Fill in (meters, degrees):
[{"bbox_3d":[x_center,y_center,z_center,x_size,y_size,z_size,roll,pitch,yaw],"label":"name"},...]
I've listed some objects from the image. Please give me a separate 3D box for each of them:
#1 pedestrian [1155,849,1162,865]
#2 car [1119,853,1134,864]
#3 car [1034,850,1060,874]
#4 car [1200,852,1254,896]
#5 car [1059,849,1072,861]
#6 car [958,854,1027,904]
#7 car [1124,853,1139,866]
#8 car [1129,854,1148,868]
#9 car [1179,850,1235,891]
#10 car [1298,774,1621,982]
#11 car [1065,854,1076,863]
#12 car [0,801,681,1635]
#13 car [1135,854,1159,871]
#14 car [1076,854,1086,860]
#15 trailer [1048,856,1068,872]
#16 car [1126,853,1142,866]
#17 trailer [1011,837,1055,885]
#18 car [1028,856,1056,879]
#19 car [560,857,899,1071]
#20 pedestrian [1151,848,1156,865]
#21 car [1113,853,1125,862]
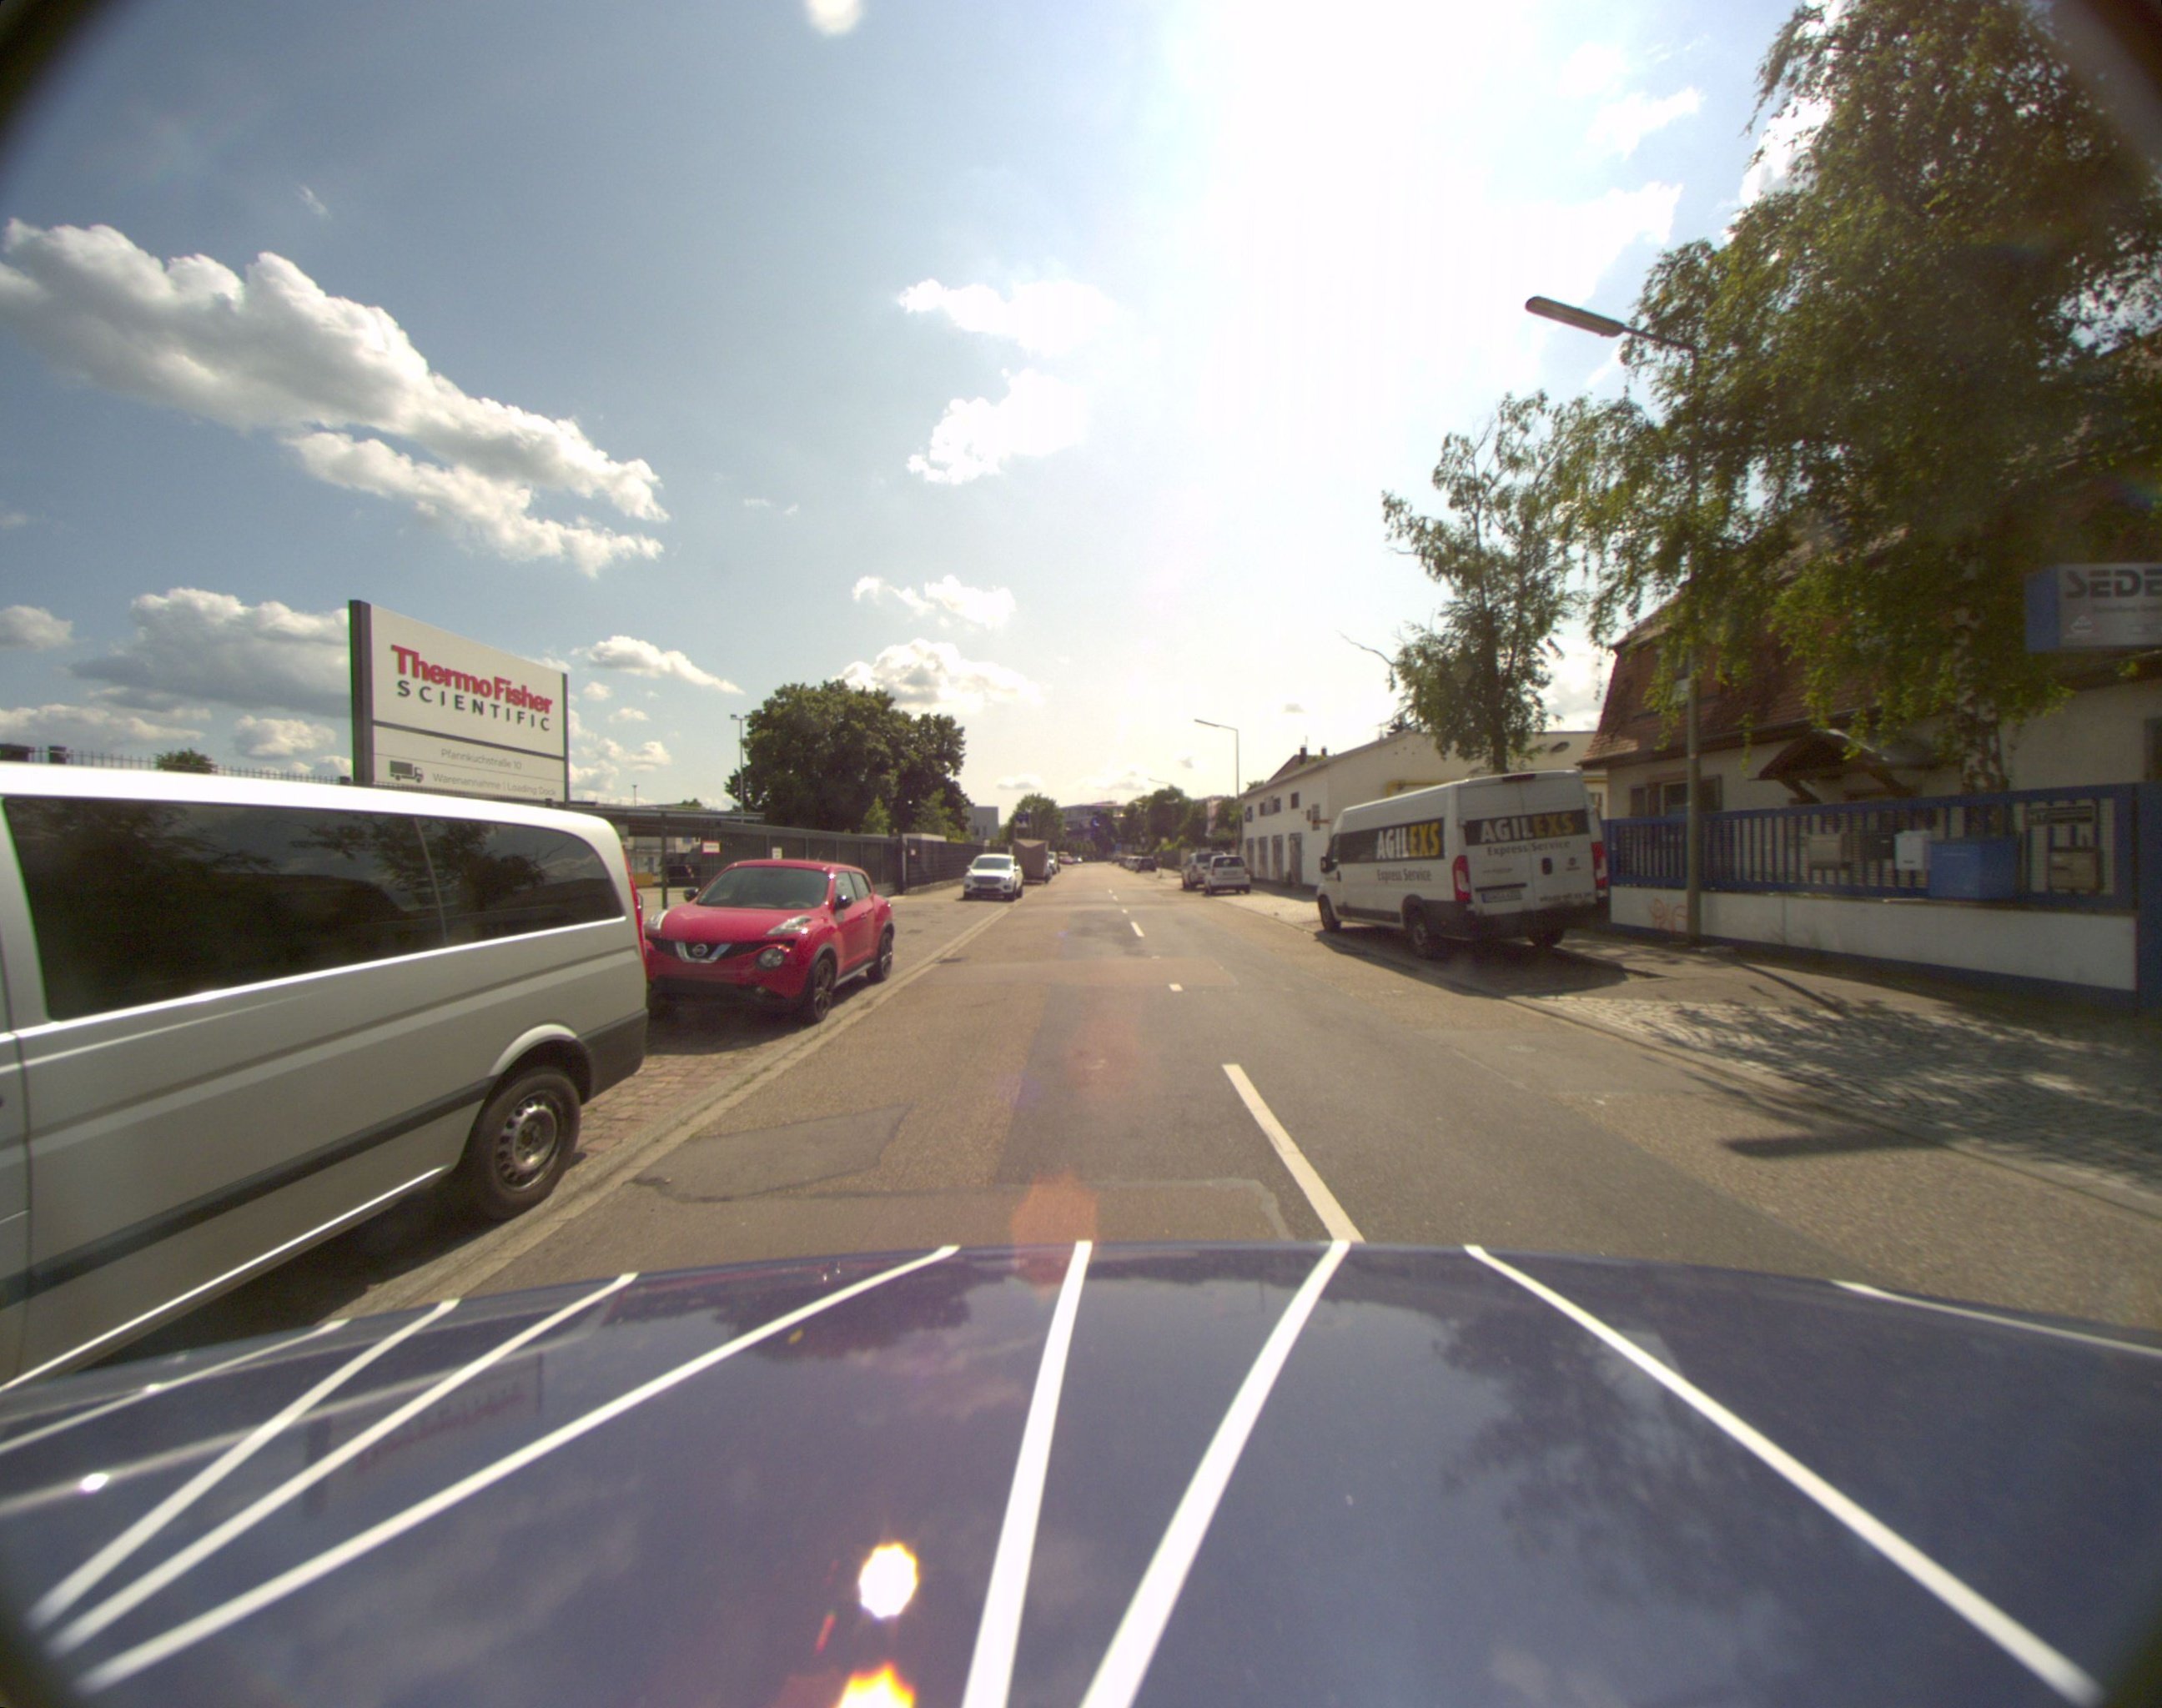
[{"bbox_3d":[8.931,0.343,87.258,0.710,1.790,0.916,-1,1,1],"label":"pedestrian"},{"bbox_3d":[6.896,0.699,115.308,1.849,1.499,4.000,-4,0,1],"label":"car"},{"bbox_3d":[-2.907,0.624,66.241,1.998,2.002,5.649,0,0,1],"label":"car"},{"bbox_3d":[5.838,0.767,30.712,1.613,1.565,3.009,-4,0,3],"label":"car"},{"bbox_3d":[-3.265,0.260,158.447,2.163,2.450,6.635,0,0,-5],"label":"car"},{"bbox_3d":[-3.191,0.853,28.436,1.940,1.683,4.679,2,0,1],"label":"car"},{"bbox_3d":[6.522,0.707,98.520,1.670,1.458,3.743,-2,1,2],"label":"car"},{"bbox_3d":[6.333,0.763,84.559,1.625,1.513,4.174,-1,0,-2],"label":"car"},{"bbox_3d":[5.804,0.701,35.569,1.795,1.709,4.751,-3,0,1],"label":"car"},{"bbox_3d":[5.779,0.274,13.007,2.035,2.543,6.655,-3,1,-1],"label":"car"},{"bbox_3d":[-1.811,0.751,133.935,1.758,1.478,4.224,3,0,1],"label":"car"},{"bbox_3d":[-3.465,0.813,1.902,2.059,1.892,5.147,1,0,2],"label":"car"},{"bbox_3d":[6.248,0.786,72.189,1.810,1.410,4.496,-3,0,0],"label":"car"},{"bbox_3d":[-0.015,0.579,158.428,1.758,1.211,4.223,-1,0,-3],"label":"car"},{"bbox_3d":[-2.304,0.949,75.590,1.754,1.409,4.547,2,1,-4],"label":"trailer"},{"bbox_3d":[6.512,0.692,93.803,1.649,1.469,4.028,-1,1,0],"label":"car"},{"bbox_3d":[-2.895,0.351,47.169,2.210,2.721,6.221,2,1,0],"label":"trailer"},{"bbox_3d":[-2.724,0.942,53.601,1.695,1.452,4.070,2,1,0],"label":"car"},{"bbox_3d":[-3.359,0.907,8.236,1.708,1.615,4.092,3,1,0],"label":"car"},{"bbox_3d":[8.291,0.259,86.911,0.452,1.883,0.677,-1,1,1],"label":"pedestrian"},{"bbox_3d":[7.187,0.599,145.165,1.762,1.565,4.475,-2,1,-3],"label":"car"}]
